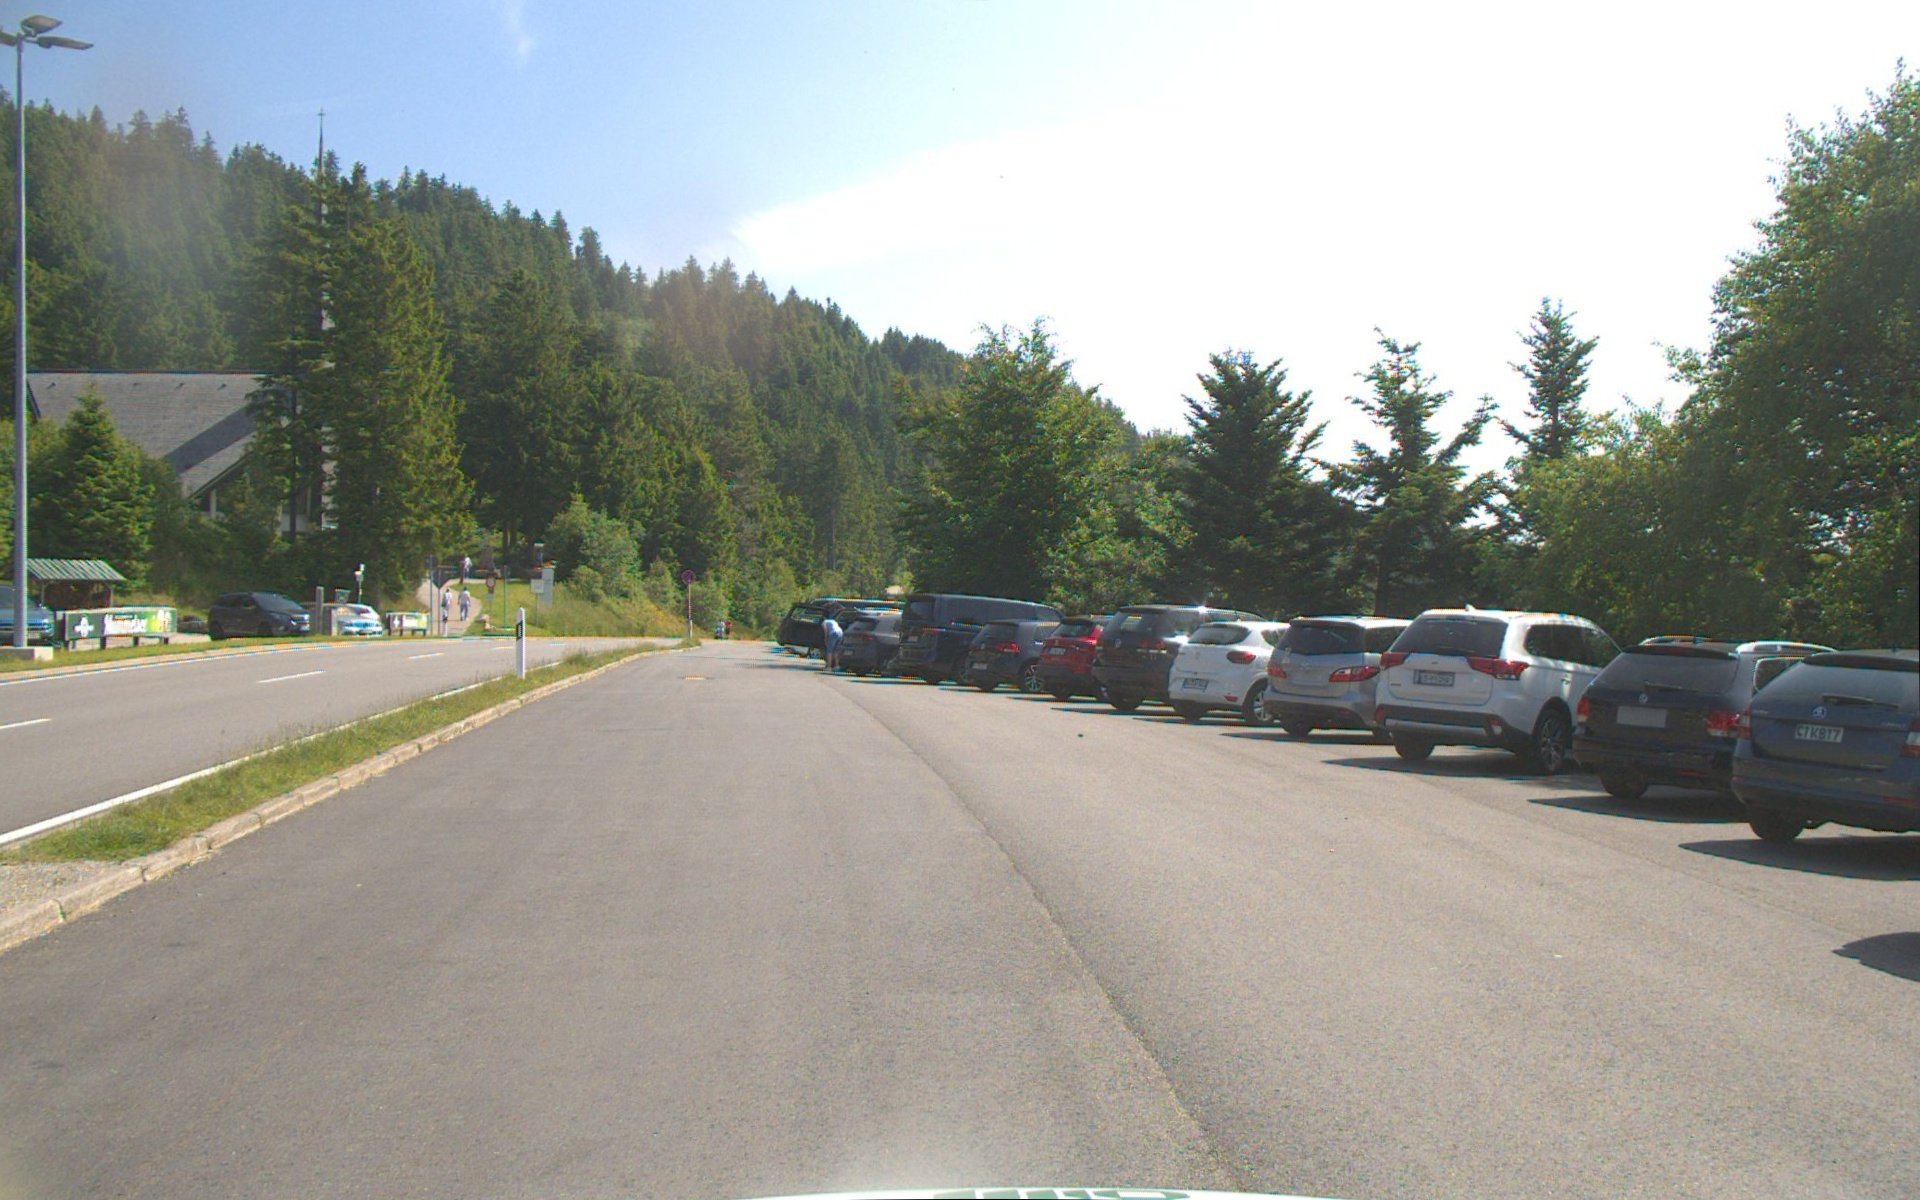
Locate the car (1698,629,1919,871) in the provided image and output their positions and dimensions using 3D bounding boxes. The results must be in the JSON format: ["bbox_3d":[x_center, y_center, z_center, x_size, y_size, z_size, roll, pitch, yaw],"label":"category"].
[{"bbox_3d":[7.401,1.077,12.217,3.753,1.484,1.646,4,-1,-30],"label":"car"}]

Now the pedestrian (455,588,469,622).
[{"bbox_3d":[-26.456,0.264,87.854,0.641,1.830,0.641,1,0,-13],"label":"pedestrian"}]

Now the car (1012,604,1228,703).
[{"bbox_3d":[3.021,1.017,30.728,3.970,1.617,1.833,4,-1,-45],"label":"car"}]

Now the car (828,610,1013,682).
[{"bbox_3d":[-0.927,1.093,39.223,3.942,1.468,1.823,4,-1,-29],"label":"car"}]

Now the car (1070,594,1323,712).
[{"bbox_3d":[3.983,0.908,27.422,1.958,1.724,4.242,2,-1,45],"label":"car"}]

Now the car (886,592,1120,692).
[{"bbox_3d":[0.948,0.924,36.216,4.699,1.913,1.950,4,-1,-26],"label":"car"}]

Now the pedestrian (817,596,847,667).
[{"bbox_3d":[-3.290,0.812,42.505,0.569,1.791,0.630,4,-2,-15],"label":"pedestrian"}]

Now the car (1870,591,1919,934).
[{"bbox_3d":[6.872,0.929,8.468,4.122,1.678,1.875,4,-1,-27],"label":"car"}]

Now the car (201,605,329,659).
[{"bbox_3d":[-22.415,1.022,53.334,4.122,1.662,1.784,0,-2,33],"label":"car"}]

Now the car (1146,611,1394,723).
[{"bbox_3d":[4.780,1.046,25.202,3.970,1.502,1.739,4,-1,-45],"label":"car"}]

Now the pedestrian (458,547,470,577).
[{"bbox_3d":[-34.627,-2.652,115.447,0.802,2.049,0.850,0,1,-15],"label":"pedestrian"}]

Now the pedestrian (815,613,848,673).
[{"bbox_3d":[-3.141,1.048,40.394,0.758,1.427,0.669,0,1,-1],"label":"pedestrian"}]

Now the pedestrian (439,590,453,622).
[{"bbox_3d":[-27.214,0.310,87.640,0.641,1.696,0.641,0,-2,-13],"label":"pedestrian"}]

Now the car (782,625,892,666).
[{"bbox_3d":[-5.259,1.961,70.927,4.394,1.321,1.571,6,-2,-24],"label":"car"}]

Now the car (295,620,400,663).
[{"bbox_3d":[-22.193,1.472,59.850,3.891,1.466,1.737,0,0,37],"label":"car"}]

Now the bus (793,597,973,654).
[{"bbox_3d":[-5.551,1.811,119.362,12.586,3.640,2.984,2,1,10],"label":"bus"}]

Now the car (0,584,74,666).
[{"bbox_3d":[-20.050,0.483,34.131,3.983,1.595,1.732,0,0,39],"label":"car"}]

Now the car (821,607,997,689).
[{"bbox_3d":[-1.284,1.215,41.994,3.953,1.691,1.976,7,-3,-35],"label":"car"}]

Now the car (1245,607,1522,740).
[{"bbox_3d":[5.759,1.006,22.246,3.970,1.576,1.791,4,-1,-45],"label":"car"}]

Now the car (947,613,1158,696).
[{"bbox_3d":[1.879,1.105,33.136,3.952,1.439,1.724,4,-1,-35],"label":"car"}]

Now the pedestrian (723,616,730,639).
[{"bbox_3d":[-18.573,2.187,131.476,0.386,1.778,0.406,1,0,6],"label":"pedestrian"}]

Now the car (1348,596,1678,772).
[{"bbox_3d":[6.347,0.924,18.738,4.195,1.724,1.833,3,-1,-45],"label":"car"}]

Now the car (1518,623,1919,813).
[{"bbox_3d":[7.234,1.084,15.381,4.006,1.486,1.871,4,-1,-36],"label":"car"}]
